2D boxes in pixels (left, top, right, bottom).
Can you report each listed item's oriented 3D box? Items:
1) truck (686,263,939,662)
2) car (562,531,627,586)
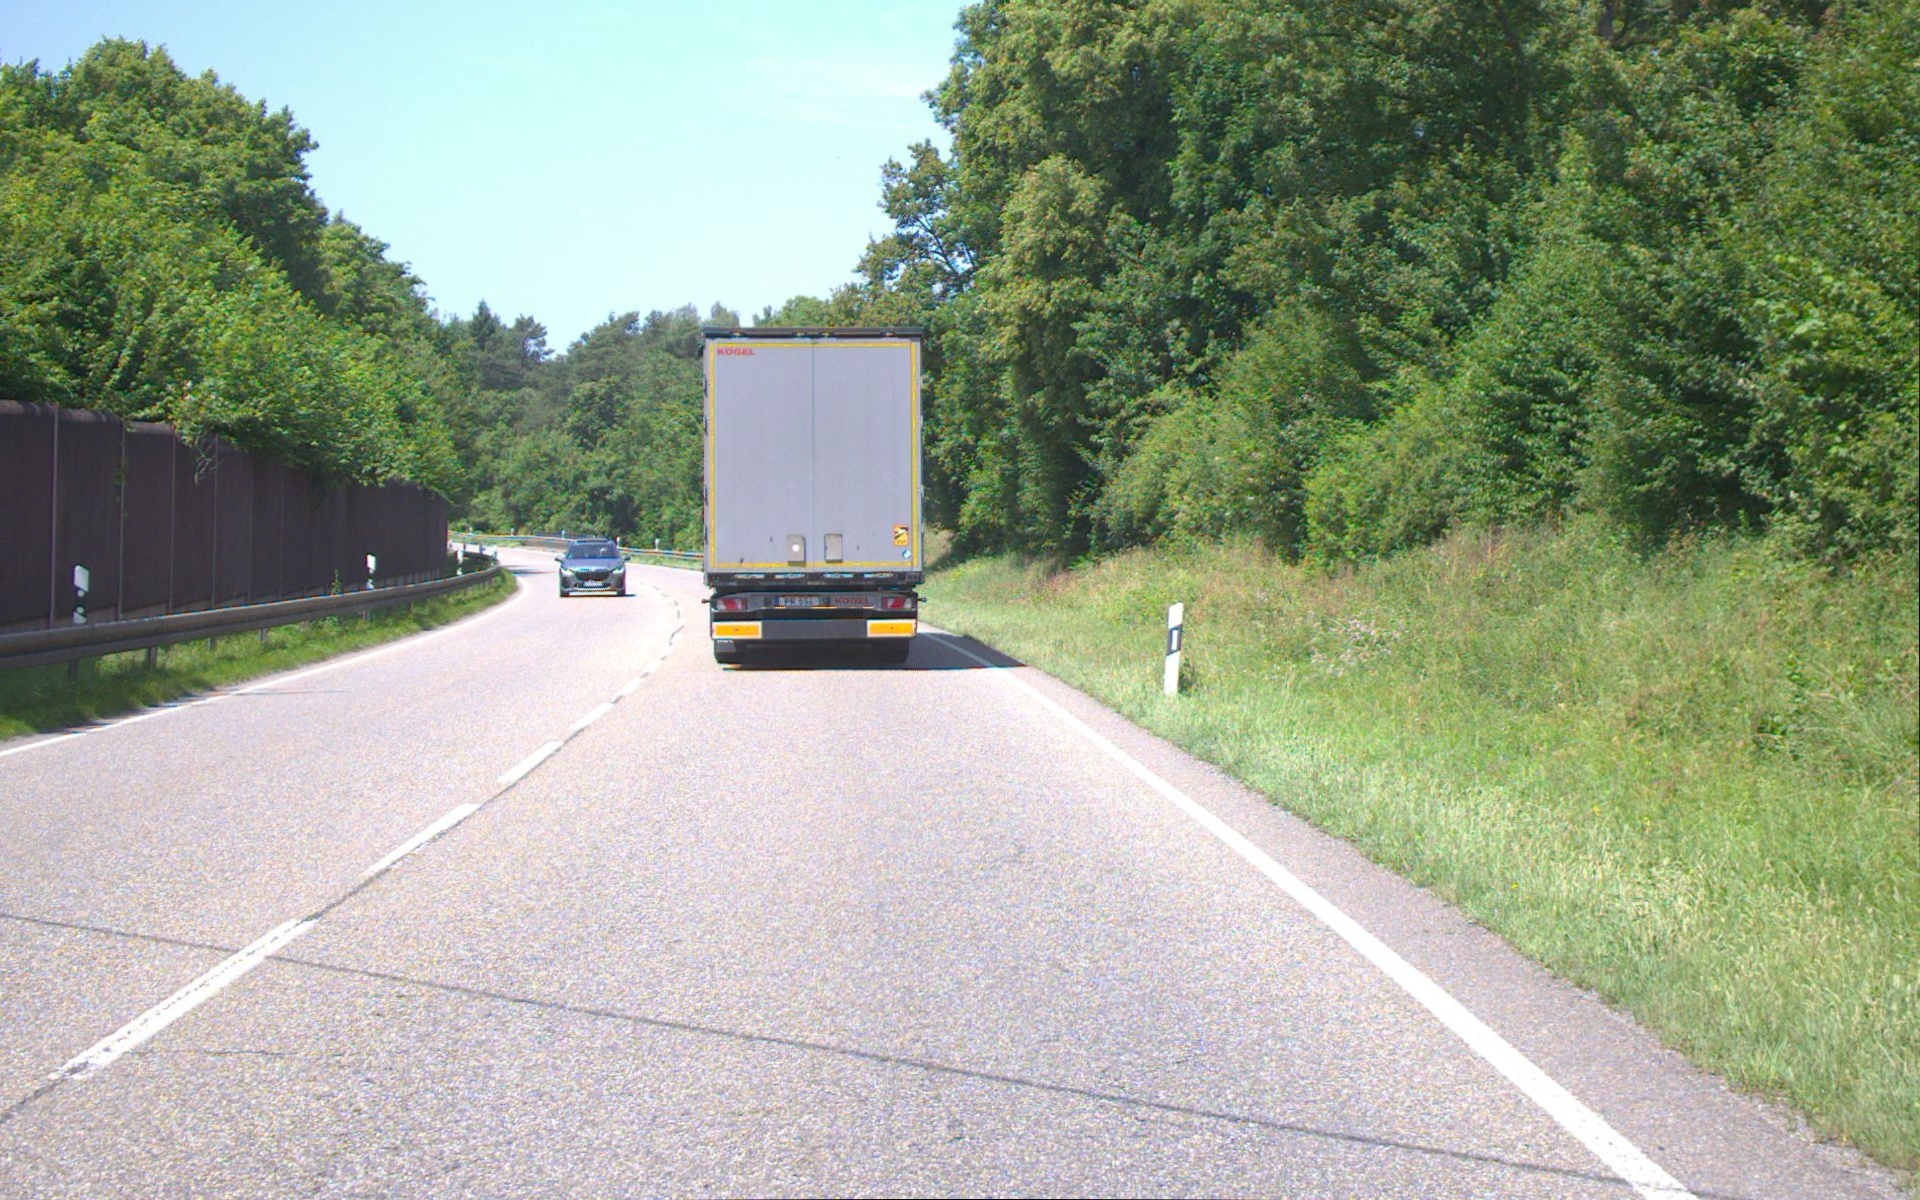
[{"bbox_3d":[-1.725,-1.594,42.969,2.822,4.588,6.665,0,0,0],"label":"truck"},{"bbox_3d":[-10.193,-1.163,95.659,1.616,1.486,3.618,0,1,-9],"label":"car"}]
